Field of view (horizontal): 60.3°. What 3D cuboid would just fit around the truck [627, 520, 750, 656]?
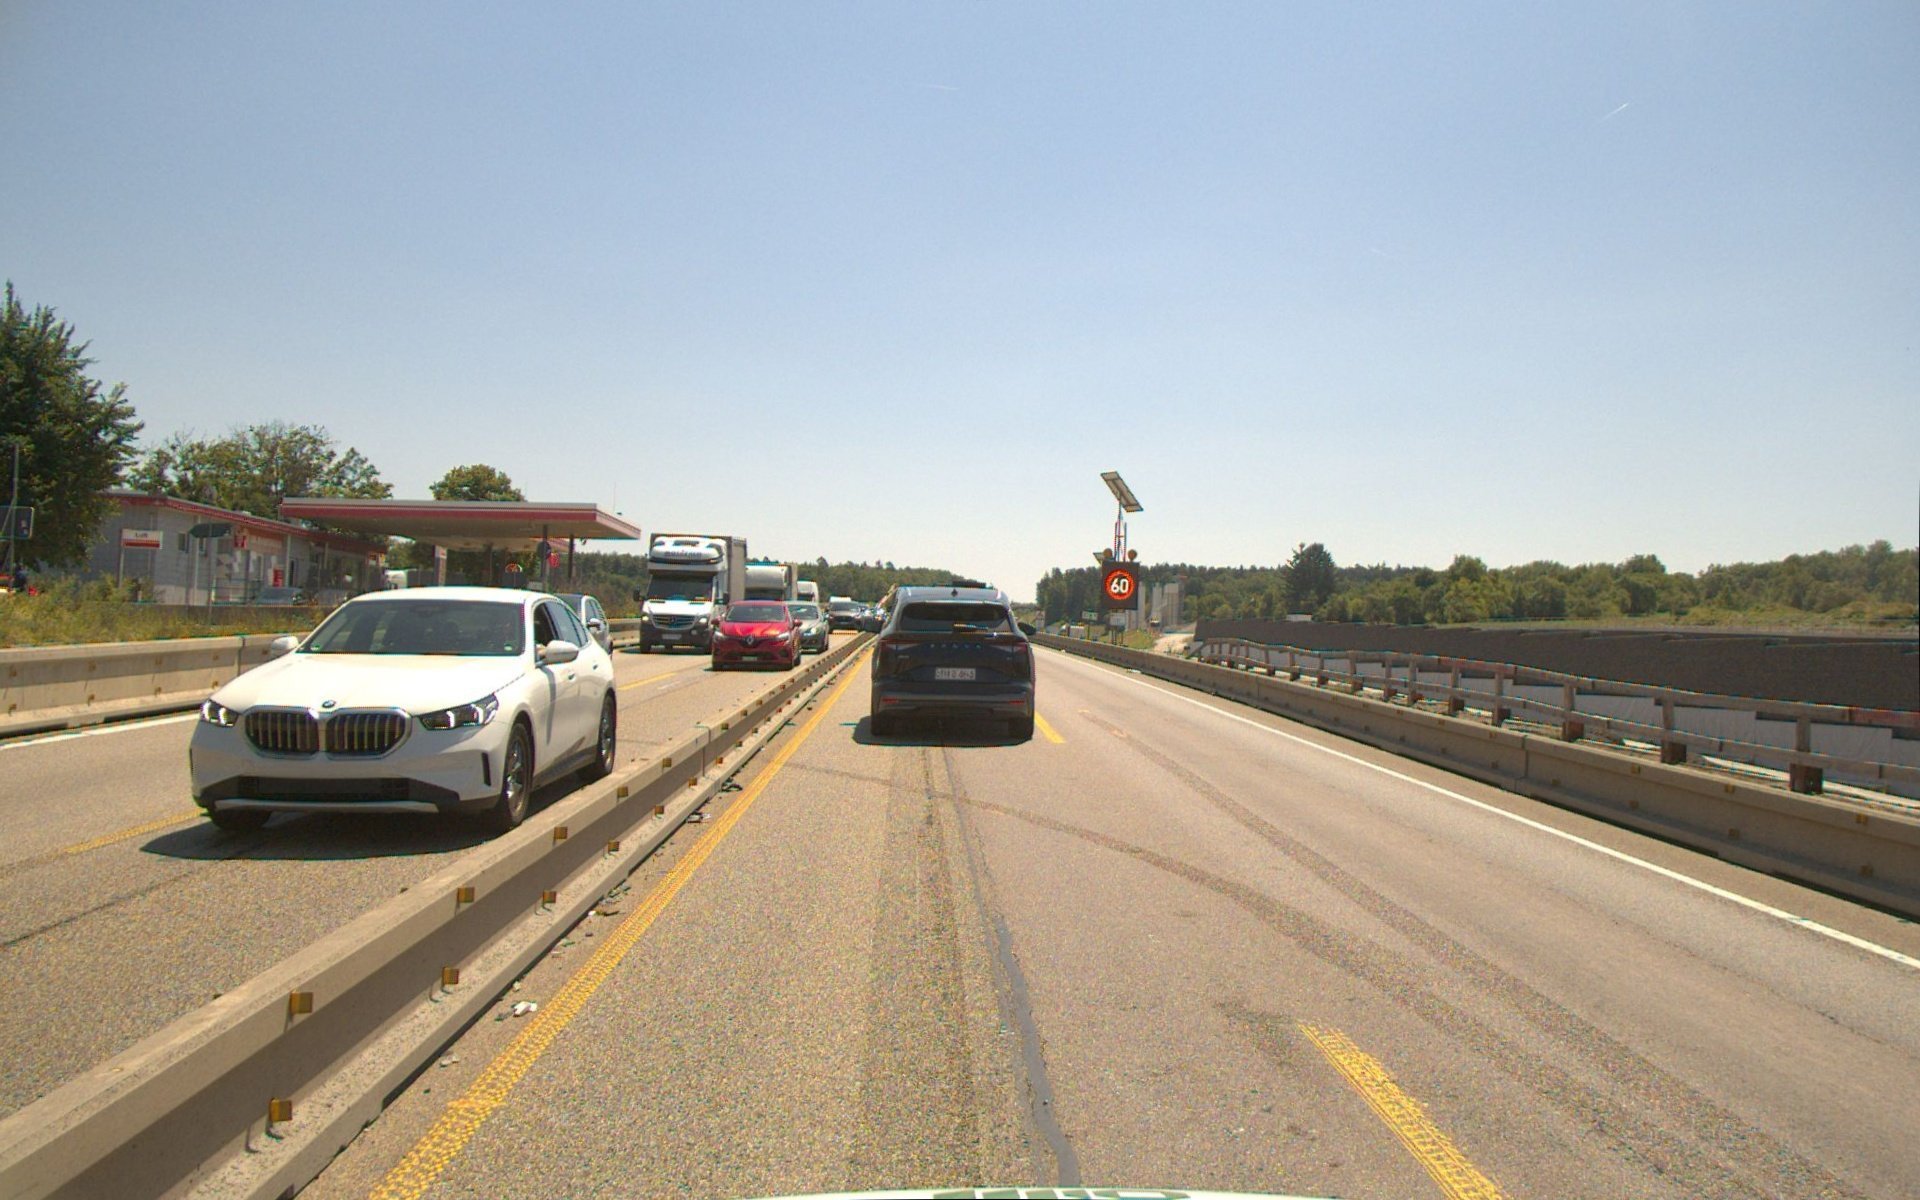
[{"bbox_3d":[-7.522,-0.306,46.699,2.341,3.444,7.712,2,0,-2],"label":"truck"}]

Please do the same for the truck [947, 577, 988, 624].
[{"bbox_3d":[0.457,0.035,109.430,2.618,2.997,5.619,1,0,-1],"label":"truck"}]

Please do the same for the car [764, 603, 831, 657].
[{"bbox_3d":[-4.629,0.840,47.627,1.648,1.454,4.200,1,0,-2],"label":"car"}]

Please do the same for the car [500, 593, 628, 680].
[{"bbox_3d":[-7.258,0.629,30.600,1.590,1.473,3.783,2,0,-3],"label":"car"}]

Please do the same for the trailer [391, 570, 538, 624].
[{"bbox_3d":[-41.038,-0.170,137.802,3.087,4.183,14.152,0,-1,25],"label":"trailer"}]

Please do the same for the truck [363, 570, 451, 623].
[{"bbox_3d":[-43.929,-0.224,131.458,3.087,4.055,6.342,0,-1,25],"label":"truck"}]

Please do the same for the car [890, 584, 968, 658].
[{"bbox_3d":[-0.913,0.589,45.656,1.954,1.876,3.997,3,-1,-3],"label":"car"}]

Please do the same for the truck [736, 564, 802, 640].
[{"bbox_3d":[-8.924,0.062,77.889,2.445,3.349,8.114,0,0,-2],"label":"truck"}]

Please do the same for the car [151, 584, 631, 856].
[{"bbox_3d":[-3.664,0.666,11.676,1.858,1.519,4.758,0,0,-2],"label":"car"}]

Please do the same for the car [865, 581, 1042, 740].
[{"bbox_3d":[-0.093,0.616,19.051,1.805,1.609,3.999,1,0,-1],"label":"car"}]

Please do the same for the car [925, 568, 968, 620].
[{"bbox_3d":[-1.210,-0.436,148.874,3.368,4.171,9.195,6,-1,0],"label":"car"}]

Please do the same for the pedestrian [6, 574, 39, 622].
[{"bbox_3d":[-24.588,-0.048,43.384,0.464,1.226,0.586,1,0,13],"label":"pedestrian"}]

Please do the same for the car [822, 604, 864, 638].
[{"bbox_3d":[-5.894,1.031,83.728,1.903,1.687,4.743,0,0,-2],"label":"car"}]

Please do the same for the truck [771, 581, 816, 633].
[{"bbox_3d":[-9.523,0.369,95.009,2.194,2.835,6.488,1,0,-3],"label":"truck"}]

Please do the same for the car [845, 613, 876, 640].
[{"bbox_3d":[-6.470,1.704,107.130,1.901,1.639,3.996,1,0,-5],"label":"car"}]

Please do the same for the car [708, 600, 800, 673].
[{"bbox_3d":[-4.393,0.747,35.737,1.616,1.459,3.998,1,0,-2],"label":"car"}]

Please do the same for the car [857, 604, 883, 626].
[{"bbox_3d":[-6.927,1.138,127.182,1.807,1.670,3.999,1,0,-1],"label":"car"}]
